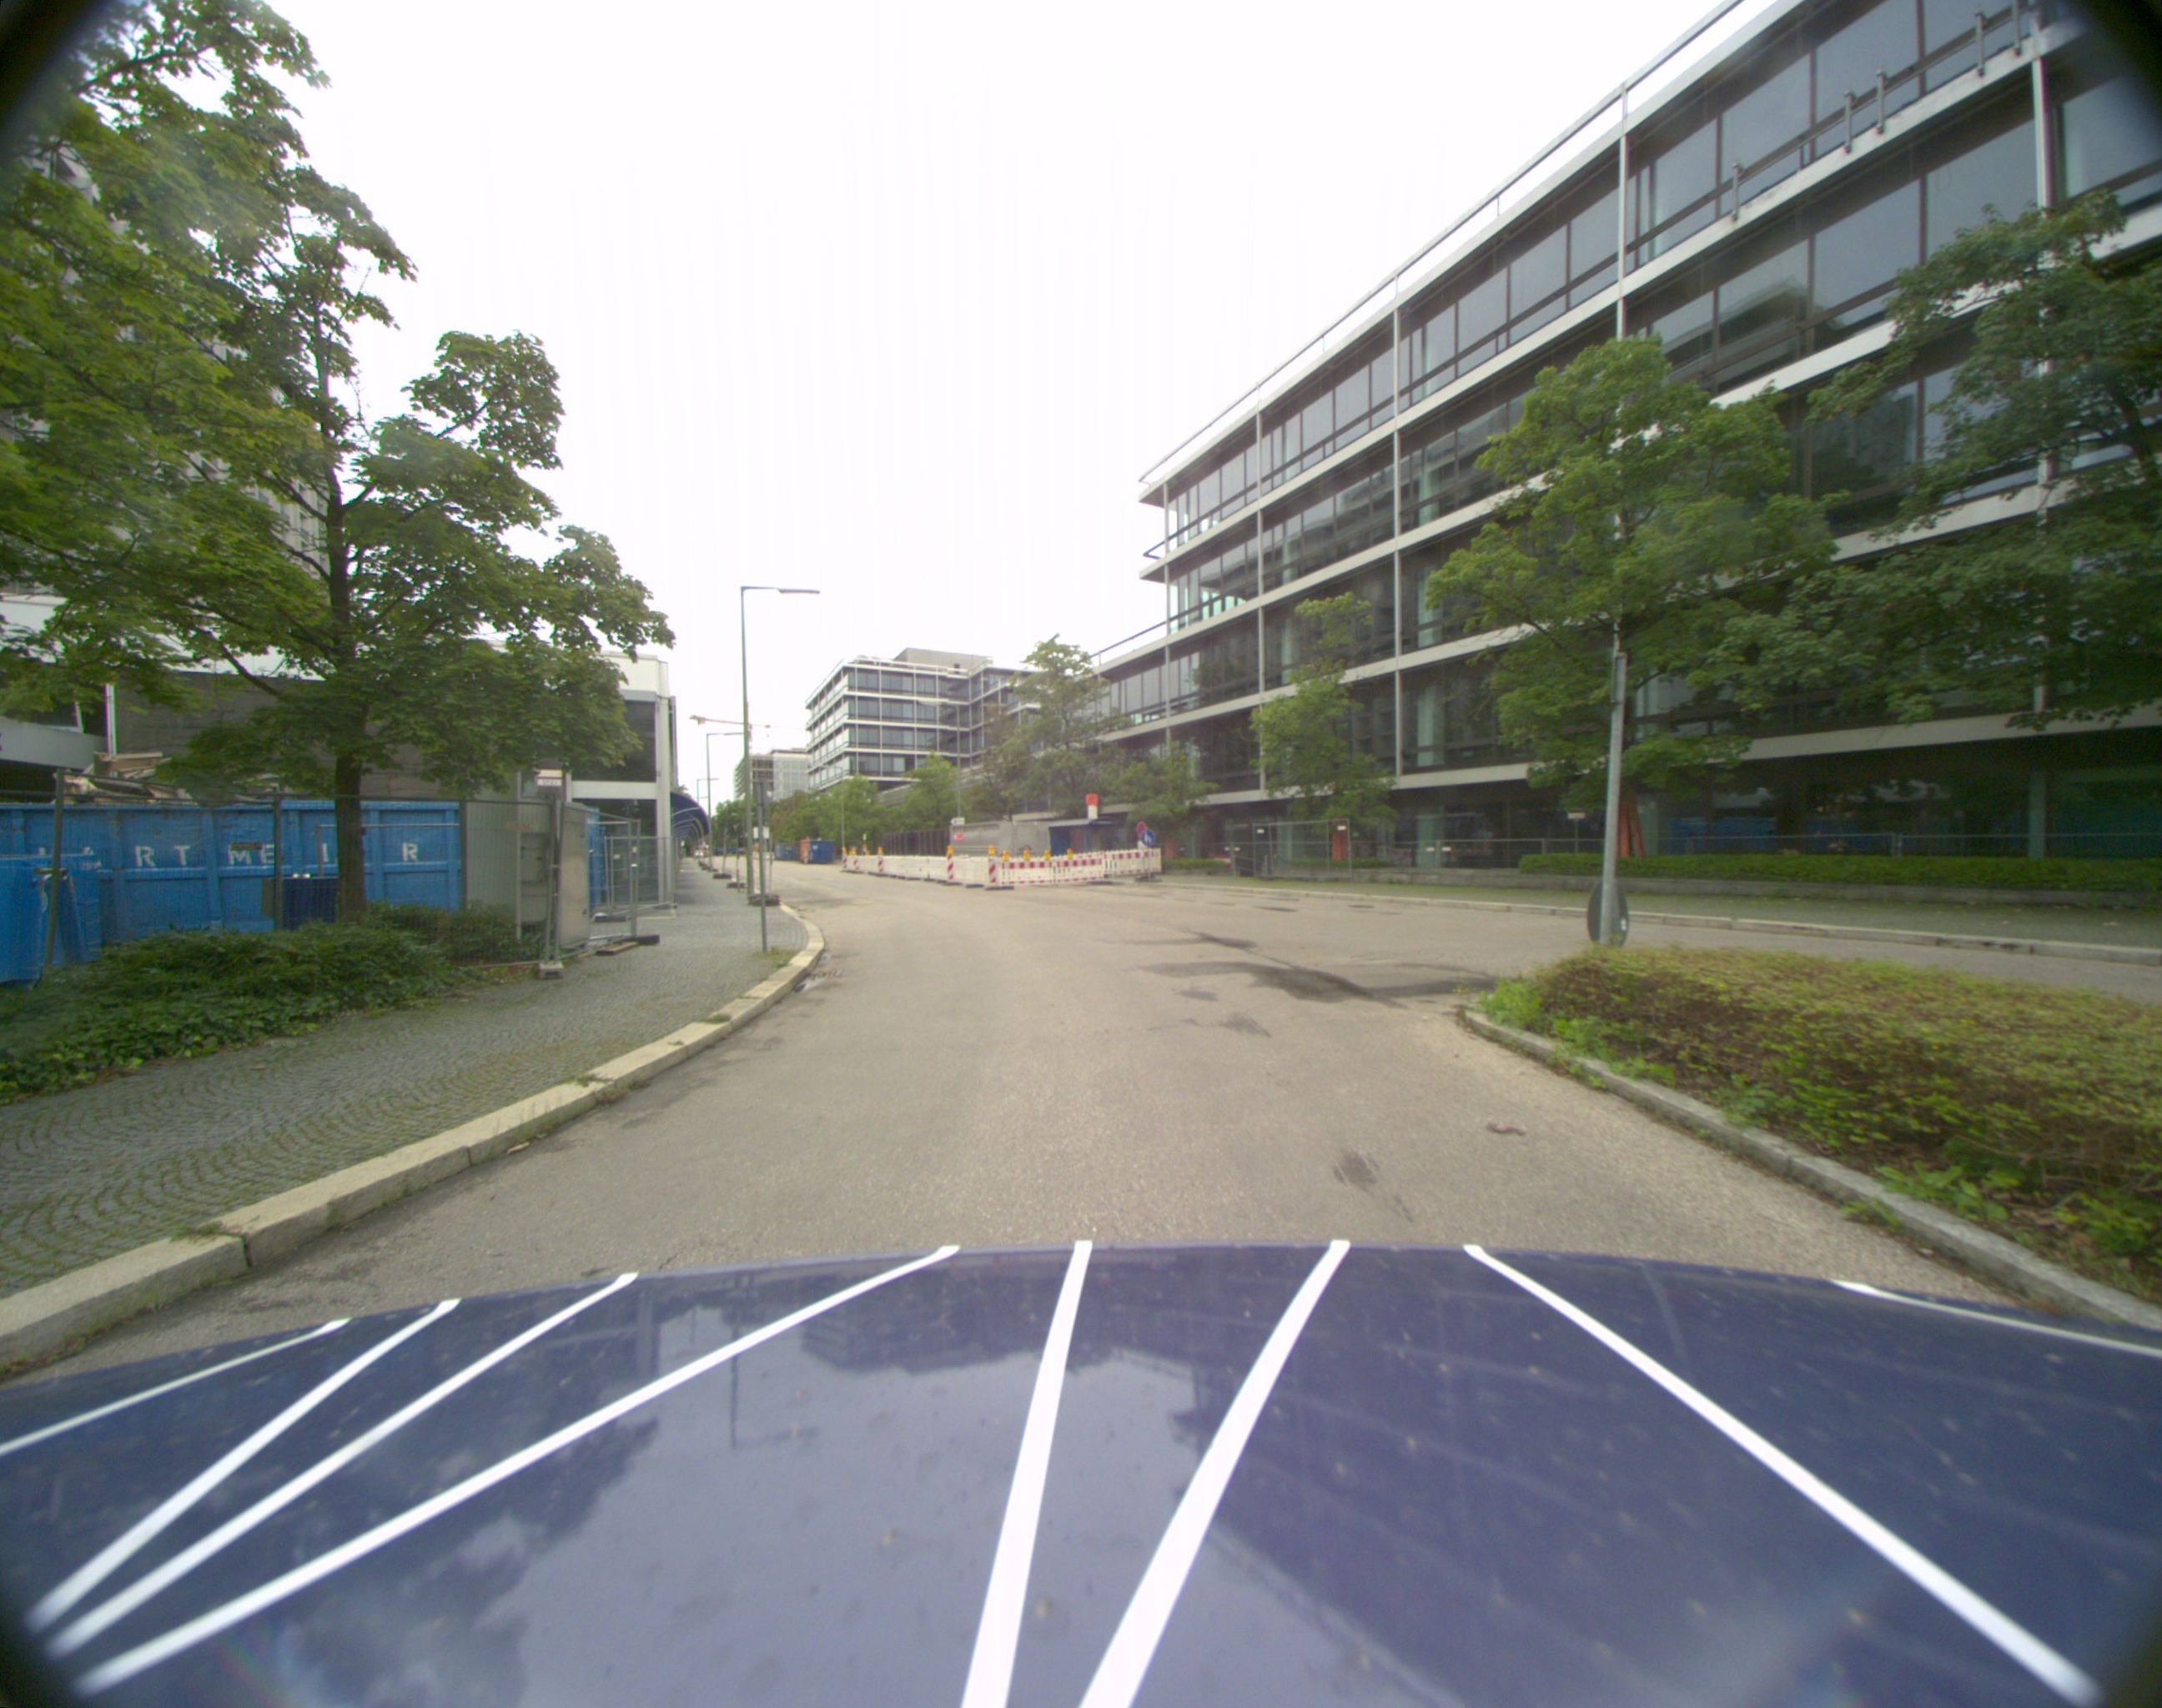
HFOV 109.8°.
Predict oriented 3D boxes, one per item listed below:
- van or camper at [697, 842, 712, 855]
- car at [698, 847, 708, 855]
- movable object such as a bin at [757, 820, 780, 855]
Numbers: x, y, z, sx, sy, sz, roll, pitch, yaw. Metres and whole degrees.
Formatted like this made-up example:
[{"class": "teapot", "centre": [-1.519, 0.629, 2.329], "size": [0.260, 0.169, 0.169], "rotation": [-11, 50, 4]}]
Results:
[{"class": "van or camper", "centre": [-81.107, -1.196, 163.678], "size": [2.672, 2.751, 6.900], "rotation": [-1, 1, -24]}, {"class": "car", "centre": [-78.548, -0.559, 157.959], "size": [1.916, 1.627, 3.991], "rotation": [-1, 1, -26]}, {"class": "movable object such as a bin", "centre": [-57.482, -3.055, 139.680], "size": [3.249, 6.286, 8.317], "rotation": [-1, 1, -25]}]
